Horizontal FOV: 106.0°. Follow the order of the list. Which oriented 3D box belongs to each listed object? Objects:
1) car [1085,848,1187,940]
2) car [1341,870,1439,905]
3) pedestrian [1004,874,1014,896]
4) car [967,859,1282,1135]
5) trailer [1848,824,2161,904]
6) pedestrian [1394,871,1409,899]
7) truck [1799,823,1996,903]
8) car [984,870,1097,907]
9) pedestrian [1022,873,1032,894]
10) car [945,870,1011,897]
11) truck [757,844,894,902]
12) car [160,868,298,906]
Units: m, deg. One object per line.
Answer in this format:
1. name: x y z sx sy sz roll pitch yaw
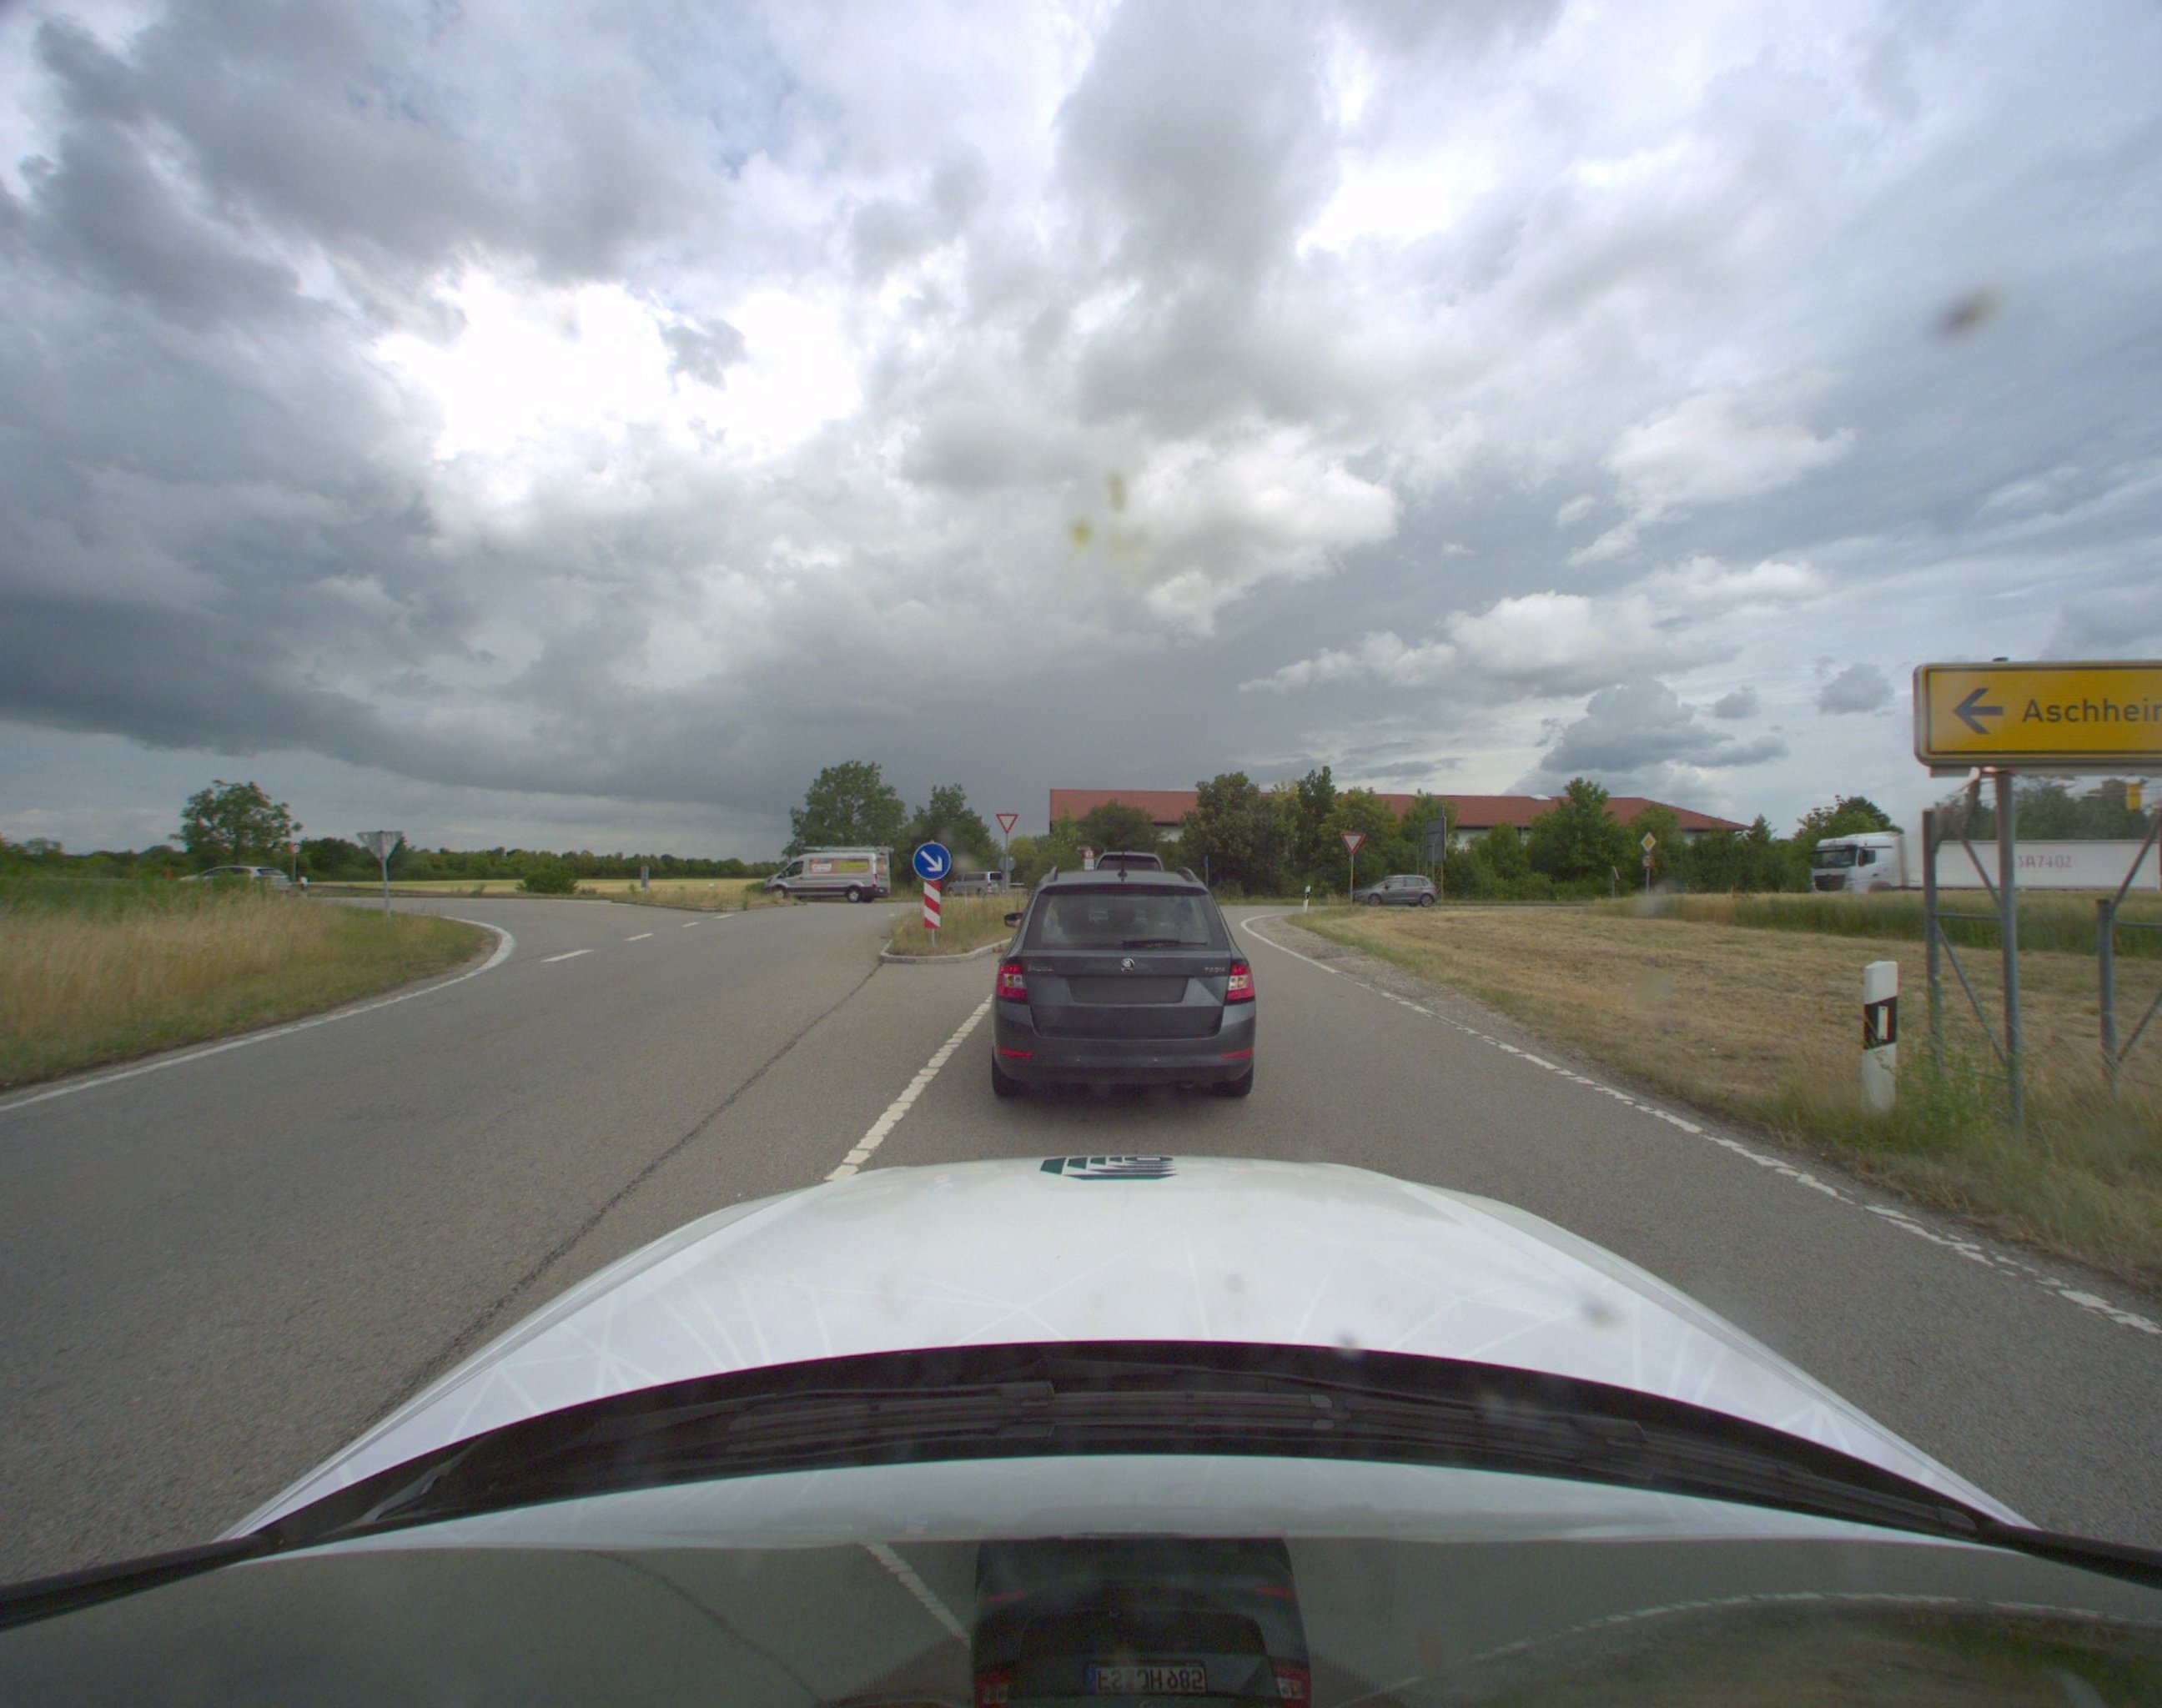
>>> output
1. car: 1.158 0.863 18.294 1.986 1.775 4.645 0 -2 2
2. car: 15.511 1.668 41.020 4.198 1.601 1.999 -1 -1 -1
3. pedestrian: -5.611 2.433 63.587 0.523 1.726 0.645 -1 -1 36
4. car: 0.286 0.783 6.188 1.670 1.463 3.709 0 -1 2
5. trailer: 48.856 0.576 43.122 13.805 4.015 3.125 0 -3 -2
6. pedestrian: 19.447 1.869 49.422 0.625 1.682 0.529 0 -1 -7
7. truck: 42.846 0.548 42.910 7.264 4.015 3.125 0 -3 -2
8. car: -1.628 1.310 31.757 4.299 1.345 1.692 -1 -1 37
9. pedestrian: -4.451 2.448 67.098 0.578 1.682 0.569 -1 -1 24
10. car: -8.064 2.293 63.897 4.851 2.014 2.357 -1 -1 37
11. truck: -12.401 0.919 39.761 5.998 2.703 2.068 0 -1 3
12. car: -39.180 1.480 37.538 3.984 1.662 1.995 0 -1 -8
